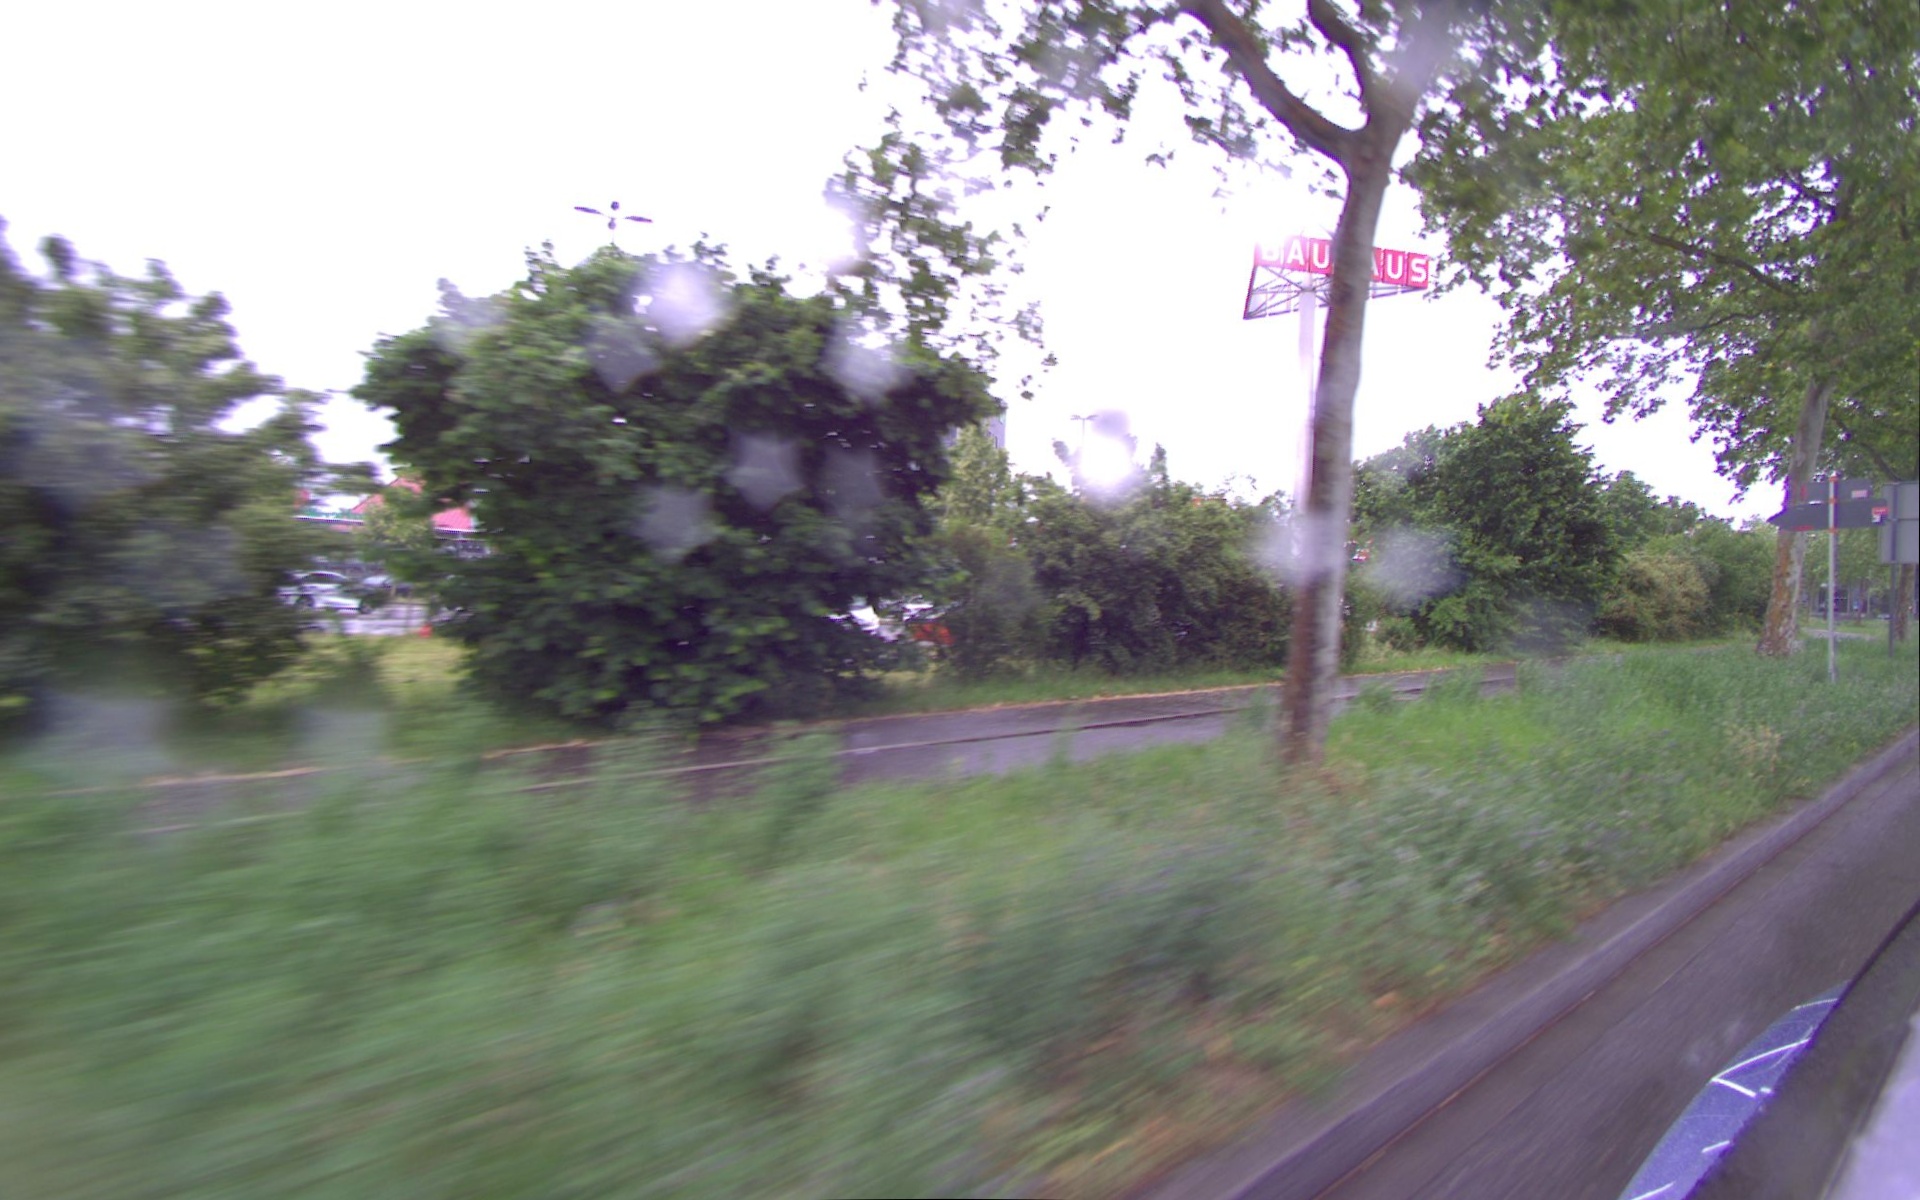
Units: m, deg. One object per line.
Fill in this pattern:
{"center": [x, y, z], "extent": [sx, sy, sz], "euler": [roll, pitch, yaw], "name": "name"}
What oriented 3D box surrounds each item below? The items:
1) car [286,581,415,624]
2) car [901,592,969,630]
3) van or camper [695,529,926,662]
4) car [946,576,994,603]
{"center": [-22.461, 0.072, 37.491], "extent": [1.759, 1.498, 4.056], "euler": [0, 0, 15], "name": "car"}
{"center": [-0.980, 0.417, 41.755], "extent": [1.759, 1.498, 4.056], "euler": [0, 0, 15], "name": "car"}
{"center": [-3.547, -0.125, 22.692], "extent": [1.966, 2.576, 6.371], "euler": [0, 1, -42], "name": "van or camper"}
{"center": [0.679, -0.669, 66.160], "extent": [1.916, 1.655, 4.002], "euler": [0, 0, 21], "name": "car"}
